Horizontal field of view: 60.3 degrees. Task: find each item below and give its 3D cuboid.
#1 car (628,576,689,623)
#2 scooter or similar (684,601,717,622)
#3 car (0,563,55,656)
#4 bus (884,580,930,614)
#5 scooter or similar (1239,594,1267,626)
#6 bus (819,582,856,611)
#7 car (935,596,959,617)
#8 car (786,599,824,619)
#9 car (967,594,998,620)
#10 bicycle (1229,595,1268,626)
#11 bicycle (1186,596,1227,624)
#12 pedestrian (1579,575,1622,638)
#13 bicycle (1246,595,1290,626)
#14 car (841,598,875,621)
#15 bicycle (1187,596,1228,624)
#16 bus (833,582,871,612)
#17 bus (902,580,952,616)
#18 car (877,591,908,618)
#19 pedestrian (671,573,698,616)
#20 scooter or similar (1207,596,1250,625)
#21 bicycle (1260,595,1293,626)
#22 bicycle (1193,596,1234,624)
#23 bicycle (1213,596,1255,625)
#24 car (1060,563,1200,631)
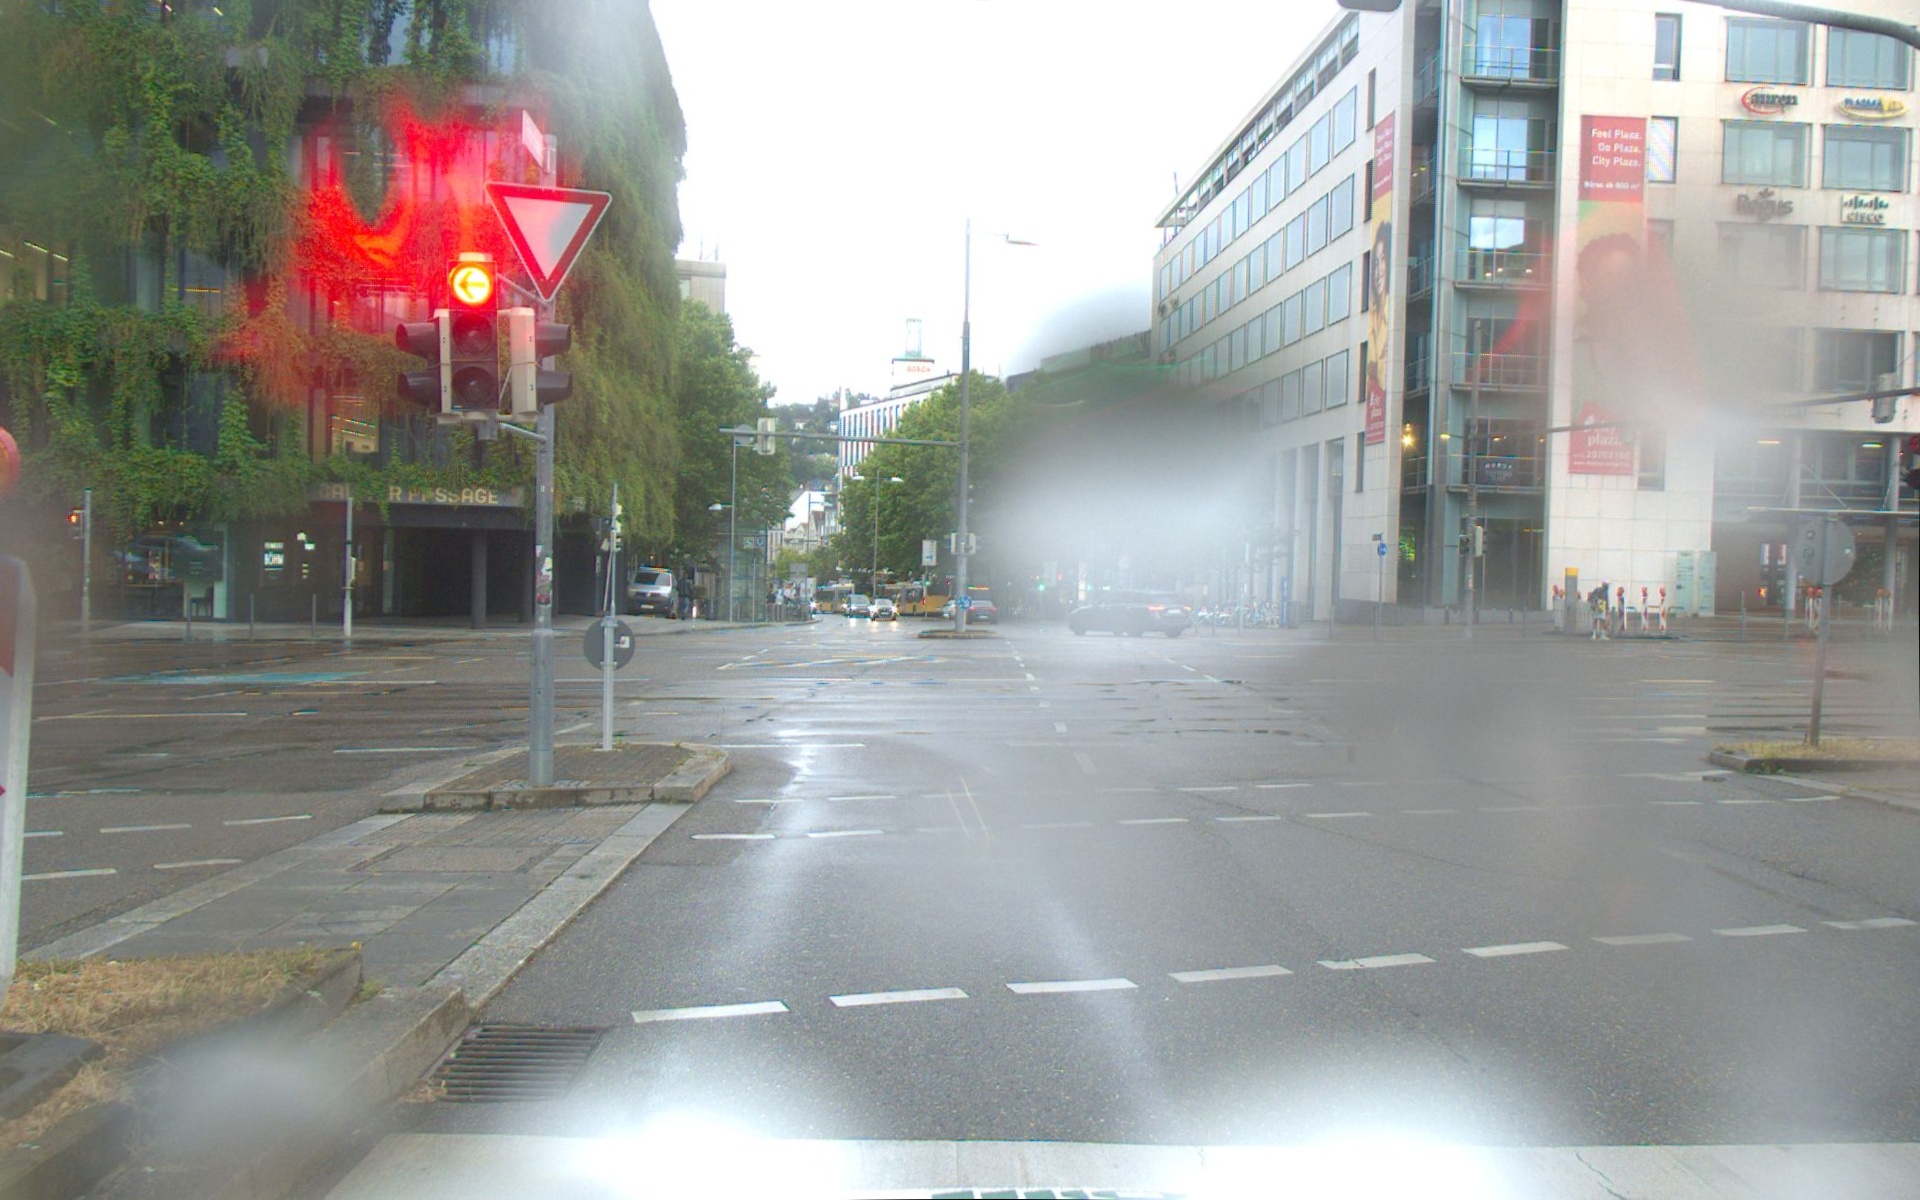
[{"bbox_3d":[-12.388,-0.011,68.138,1.832,1.871,3.999,1,0,-1],"label":"car"},{"bbox_3d":[-12.933,0.550,82.339,0.612,1.022,1.653,1,0,37],"label":"scooter or similar"},{"bbox_3d":[-18.855,0.127,29.501,4.402,1.637,1.823,1,0,-17],"label":"car"},{"bbox_3d":[-4.964,-0.267,153.013,2.585,3.048,7.417,0,0,-16],"label":"bus"},{"bbox_3d":[11.387,0.400,64.322,0.946,1.215,0.453,1,-1,40],"label":"scooter or similar"},{"bbox_3d":[-13.338,-0.385,180.129,2.585,3.048,7.417,0,0,-16],"label":"bus"},{"bbox_3d":[-0.962,0.467,123.221,1.745,1.534,3.999,1,0,-1],"label":"car"},{"bbox_3d":[-14.932,0.872,159.105,2.136,1.796,5.073,1,0,-24],"label":"car"},{"bbox_3d":[1.384,0.434,102.465,1.745,1.534,3.999,1,0,-1],"label":"car"},{"bbox_3d":[11.586,0.413,66.562,0.578,1.215,1.766,1,0,-28],"label":"bicycle"},{"bbox_3d":[10.864,0.428,72.929,1.741,1.215,0.586,1,-1,1],"label":"bicycle"},{"bbox_3d":[19.373,0.196,50.048,0.942,1.848,0.836,1,-1,-1],"label":"pedestrian"},{"bbox_3d":[12.123,0.416,65.018,1.590,1.215,0.586,1,-1,25],"label":"bicycle"},{"bbox_3d":[-8.215,0.744,132.461,2.125,1.796,4.817,-1,0,-11],"label":"car"},{"bbox_3d":[11.007,0.433,73.566,1.741,1.215,0.586,1,-1,1],"label":"bicycle"},{"bbox_3d":[-11.341,-0.307,173.062,2.585,3.048,7.296,0,0,-16],"label":"bus"},{"bbox_3d":[-2.968,-0.211,145.896,2.585,3.048,7.417,0,0,-16],"label":"bus"},{"bbox_3d":[-4.811,0.298,117.091,2.121,1.796,5.108,1,0,-4],"label":"car"},{"bbox_3d":[-10.914,-0.200,65.612,0.915,1.673,0.774,1,-1,-1],"label":"pedestrian"},{"bbox_3d":[11.549,0.432,71.148,1.741,1.215,0.586,1,-1,1],"label":"scooter or similar"},{"bbox_3d":[12.861,0.438,67.138,0.575,1.215,1.776,1,-1,37],"label":"bicycle"},{"bbox_3d":[11.424,0.444,74.490,1.741,1.215,0.586,1,-1,1],"label":"bicycle"},{"bbox_3d":[11.894,0.441,71.776,1.741,1.215,0.586,1,-1,1],"label":"bicycle"},{"bbox_3d":[5.274,-0.102,51.794,1.535,2.049,4.600,1,0,-40],"label":"car"}]
